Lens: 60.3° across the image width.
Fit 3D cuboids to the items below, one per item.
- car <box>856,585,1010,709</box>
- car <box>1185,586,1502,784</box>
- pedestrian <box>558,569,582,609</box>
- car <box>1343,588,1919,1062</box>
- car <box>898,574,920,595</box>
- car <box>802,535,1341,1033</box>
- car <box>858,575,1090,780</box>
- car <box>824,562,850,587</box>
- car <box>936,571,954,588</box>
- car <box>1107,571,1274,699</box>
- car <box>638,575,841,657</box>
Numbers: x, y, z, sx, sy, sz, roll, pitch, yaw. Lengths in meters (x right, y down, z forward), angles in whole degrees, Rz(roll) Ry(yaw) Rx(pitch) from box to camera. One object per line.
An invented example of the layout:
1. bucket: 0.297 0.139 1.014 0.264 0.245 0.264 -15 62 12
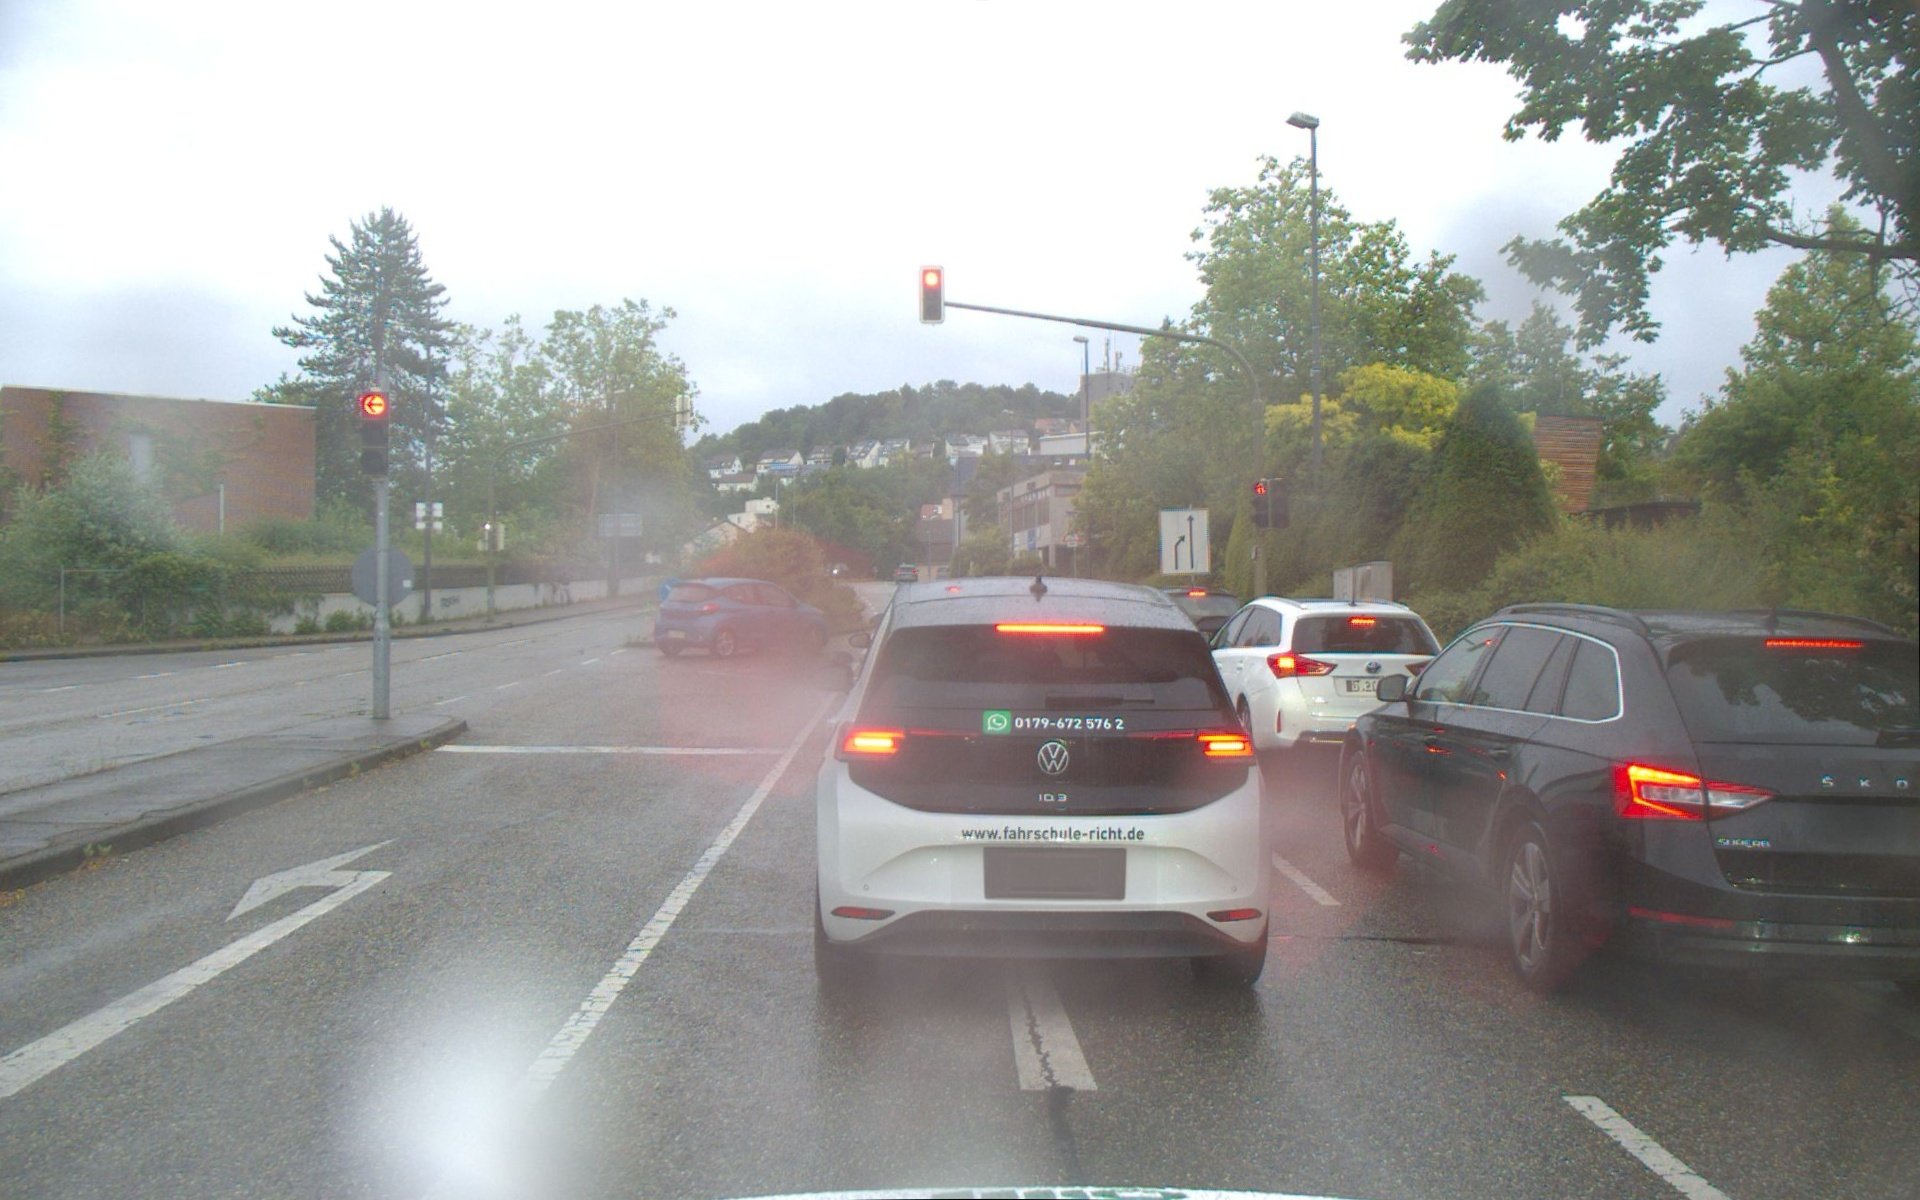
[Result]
1. car: -0.364 0.538 21.588 1.800 1.424 3.830 1 1 -1
2. car: 3.279 0.647 14.986 1.800 1.492 4.116 1 1 -1
3. pedestrian: -15.843 -0.445 67.146 0.744 1.595 0.825 -2 0 -2
4. car: 3.135 0.720 7.503 1.800 1.492 4.350 1 1 1
5. car: -4.182 -1.290 136.361 1.739 1.609 3.999 -2 0 -1
6. car: 0.329 0.605 7.940 1.800 1.657 4.614 1 1 -1
7. car: 0.066 0.592 15.182 1.800 1.582 4.174 1 1 -1
8. car: -10.386 -2.140 140.136 1.953 2.049 3.999 1 -1 -1
9. car: -1.492 -2.101 167.911 1.739 1.609 3.999 -2 0 -1
10. car: 3.159 0.454 23.367 1.739 1.609 3.999 1 0 -1
11. car: -4.250 0.274 32.255 1.735 1.443 3.728 -1 1 41
